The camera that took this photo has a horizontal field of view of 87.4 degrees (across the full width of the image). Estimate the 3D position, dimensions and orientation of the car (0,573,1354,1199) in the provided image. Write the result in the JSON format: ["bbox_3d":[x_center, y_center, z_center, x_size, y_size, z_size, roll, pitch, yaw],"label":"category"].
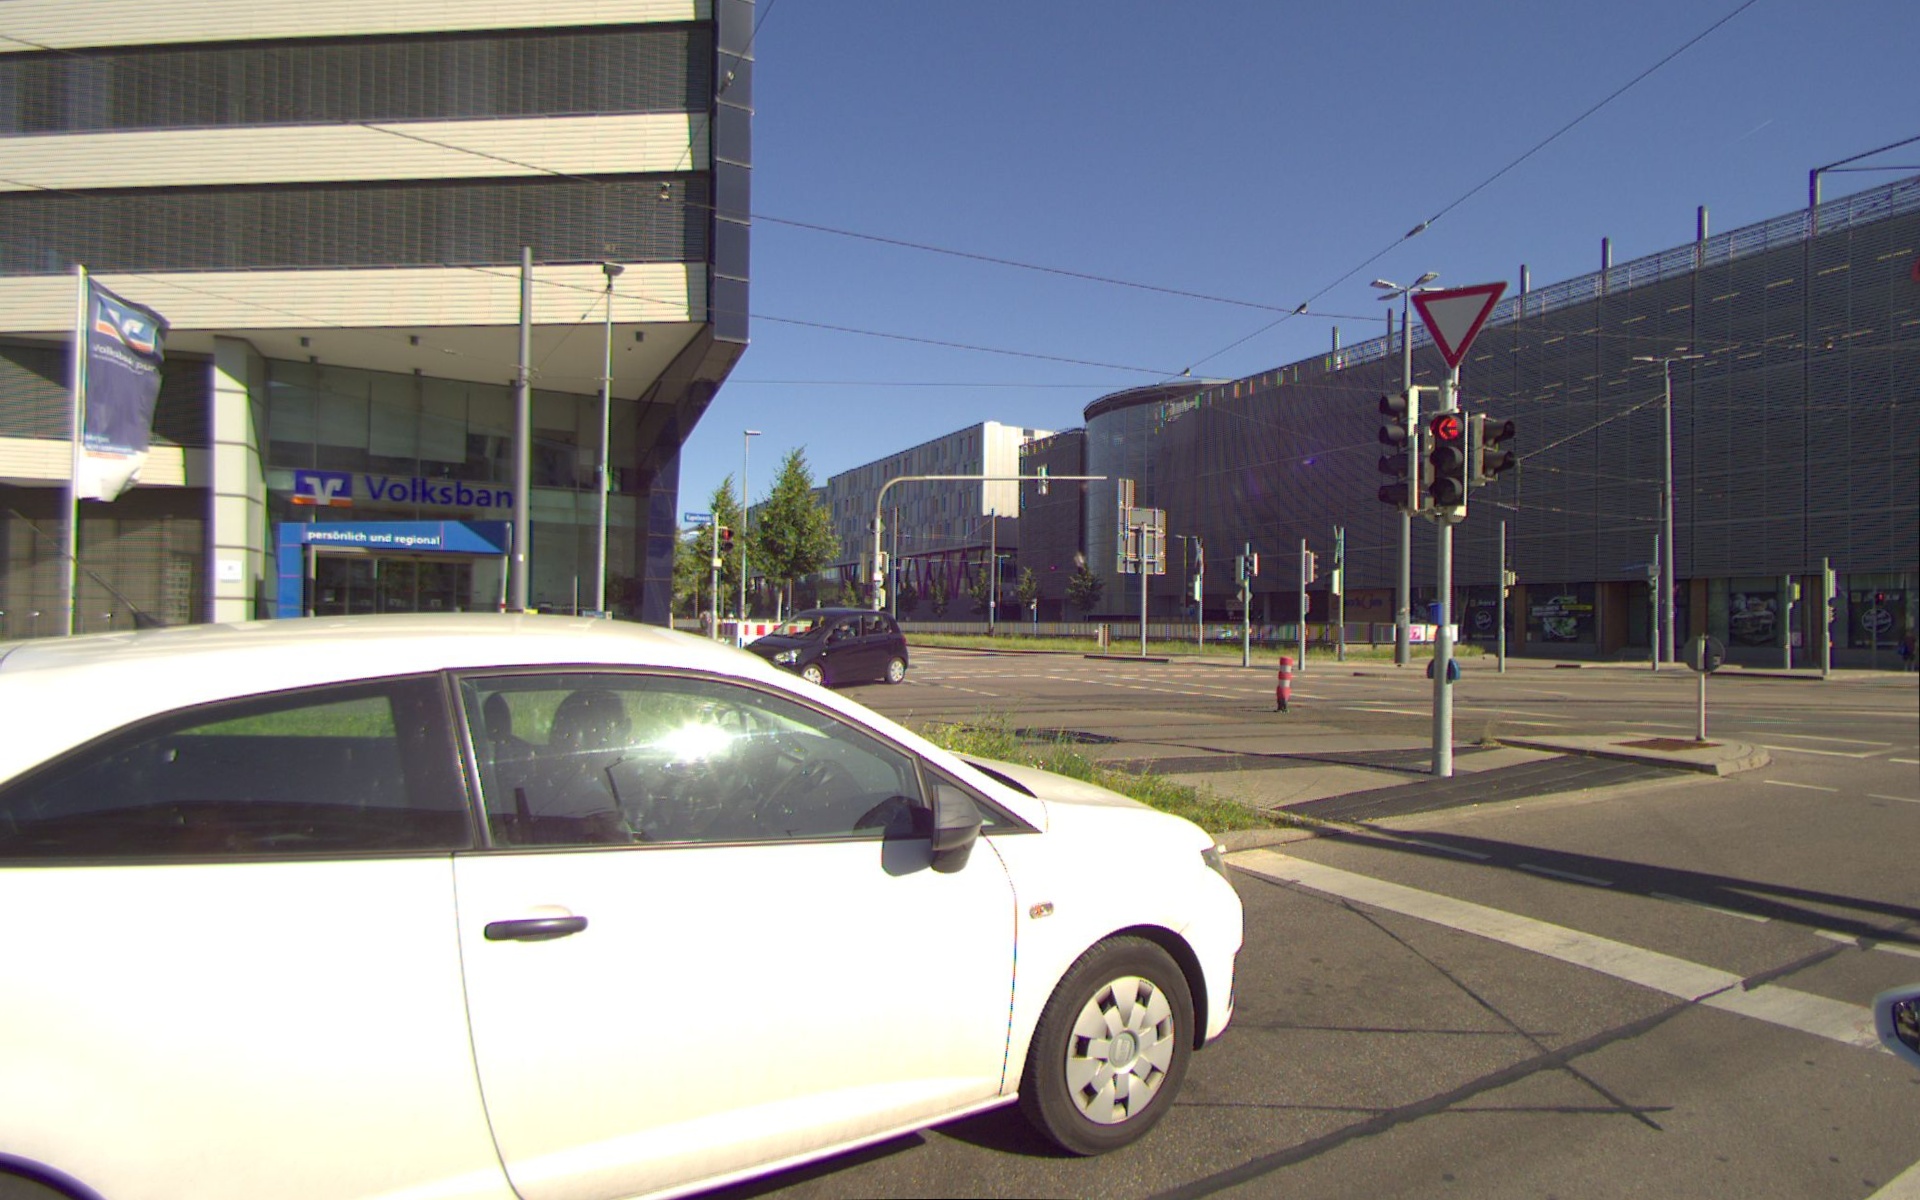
[{"bbox_3d":[-0.959,0.740,2.791,3.977,1.460,1.723,2,1,-31],"label":"car"}]

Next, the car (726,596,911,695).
[{"bbox_3d":[-2.658,0.846,19.488,1.555,1.729,3.541,-1,-2,35],"label":"car"}]

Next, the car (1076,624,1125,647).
[{"bbox_3d":[11.886,2.967,84.934,1.819,1.605,4.268,2,2,-30],"label":"car"}]

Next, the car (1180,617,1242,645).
[{"bbox_3d":[18.020,2.213,72.271,1.819,1.887,4.306,2,-1,-30],"label":"car"}]

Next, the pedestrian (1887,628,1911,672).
[{"bbox_3d":[39.964,2.120,42.732,0.687,1.821,0.726,-2,-3,44],"label":"pedestrian"}]
